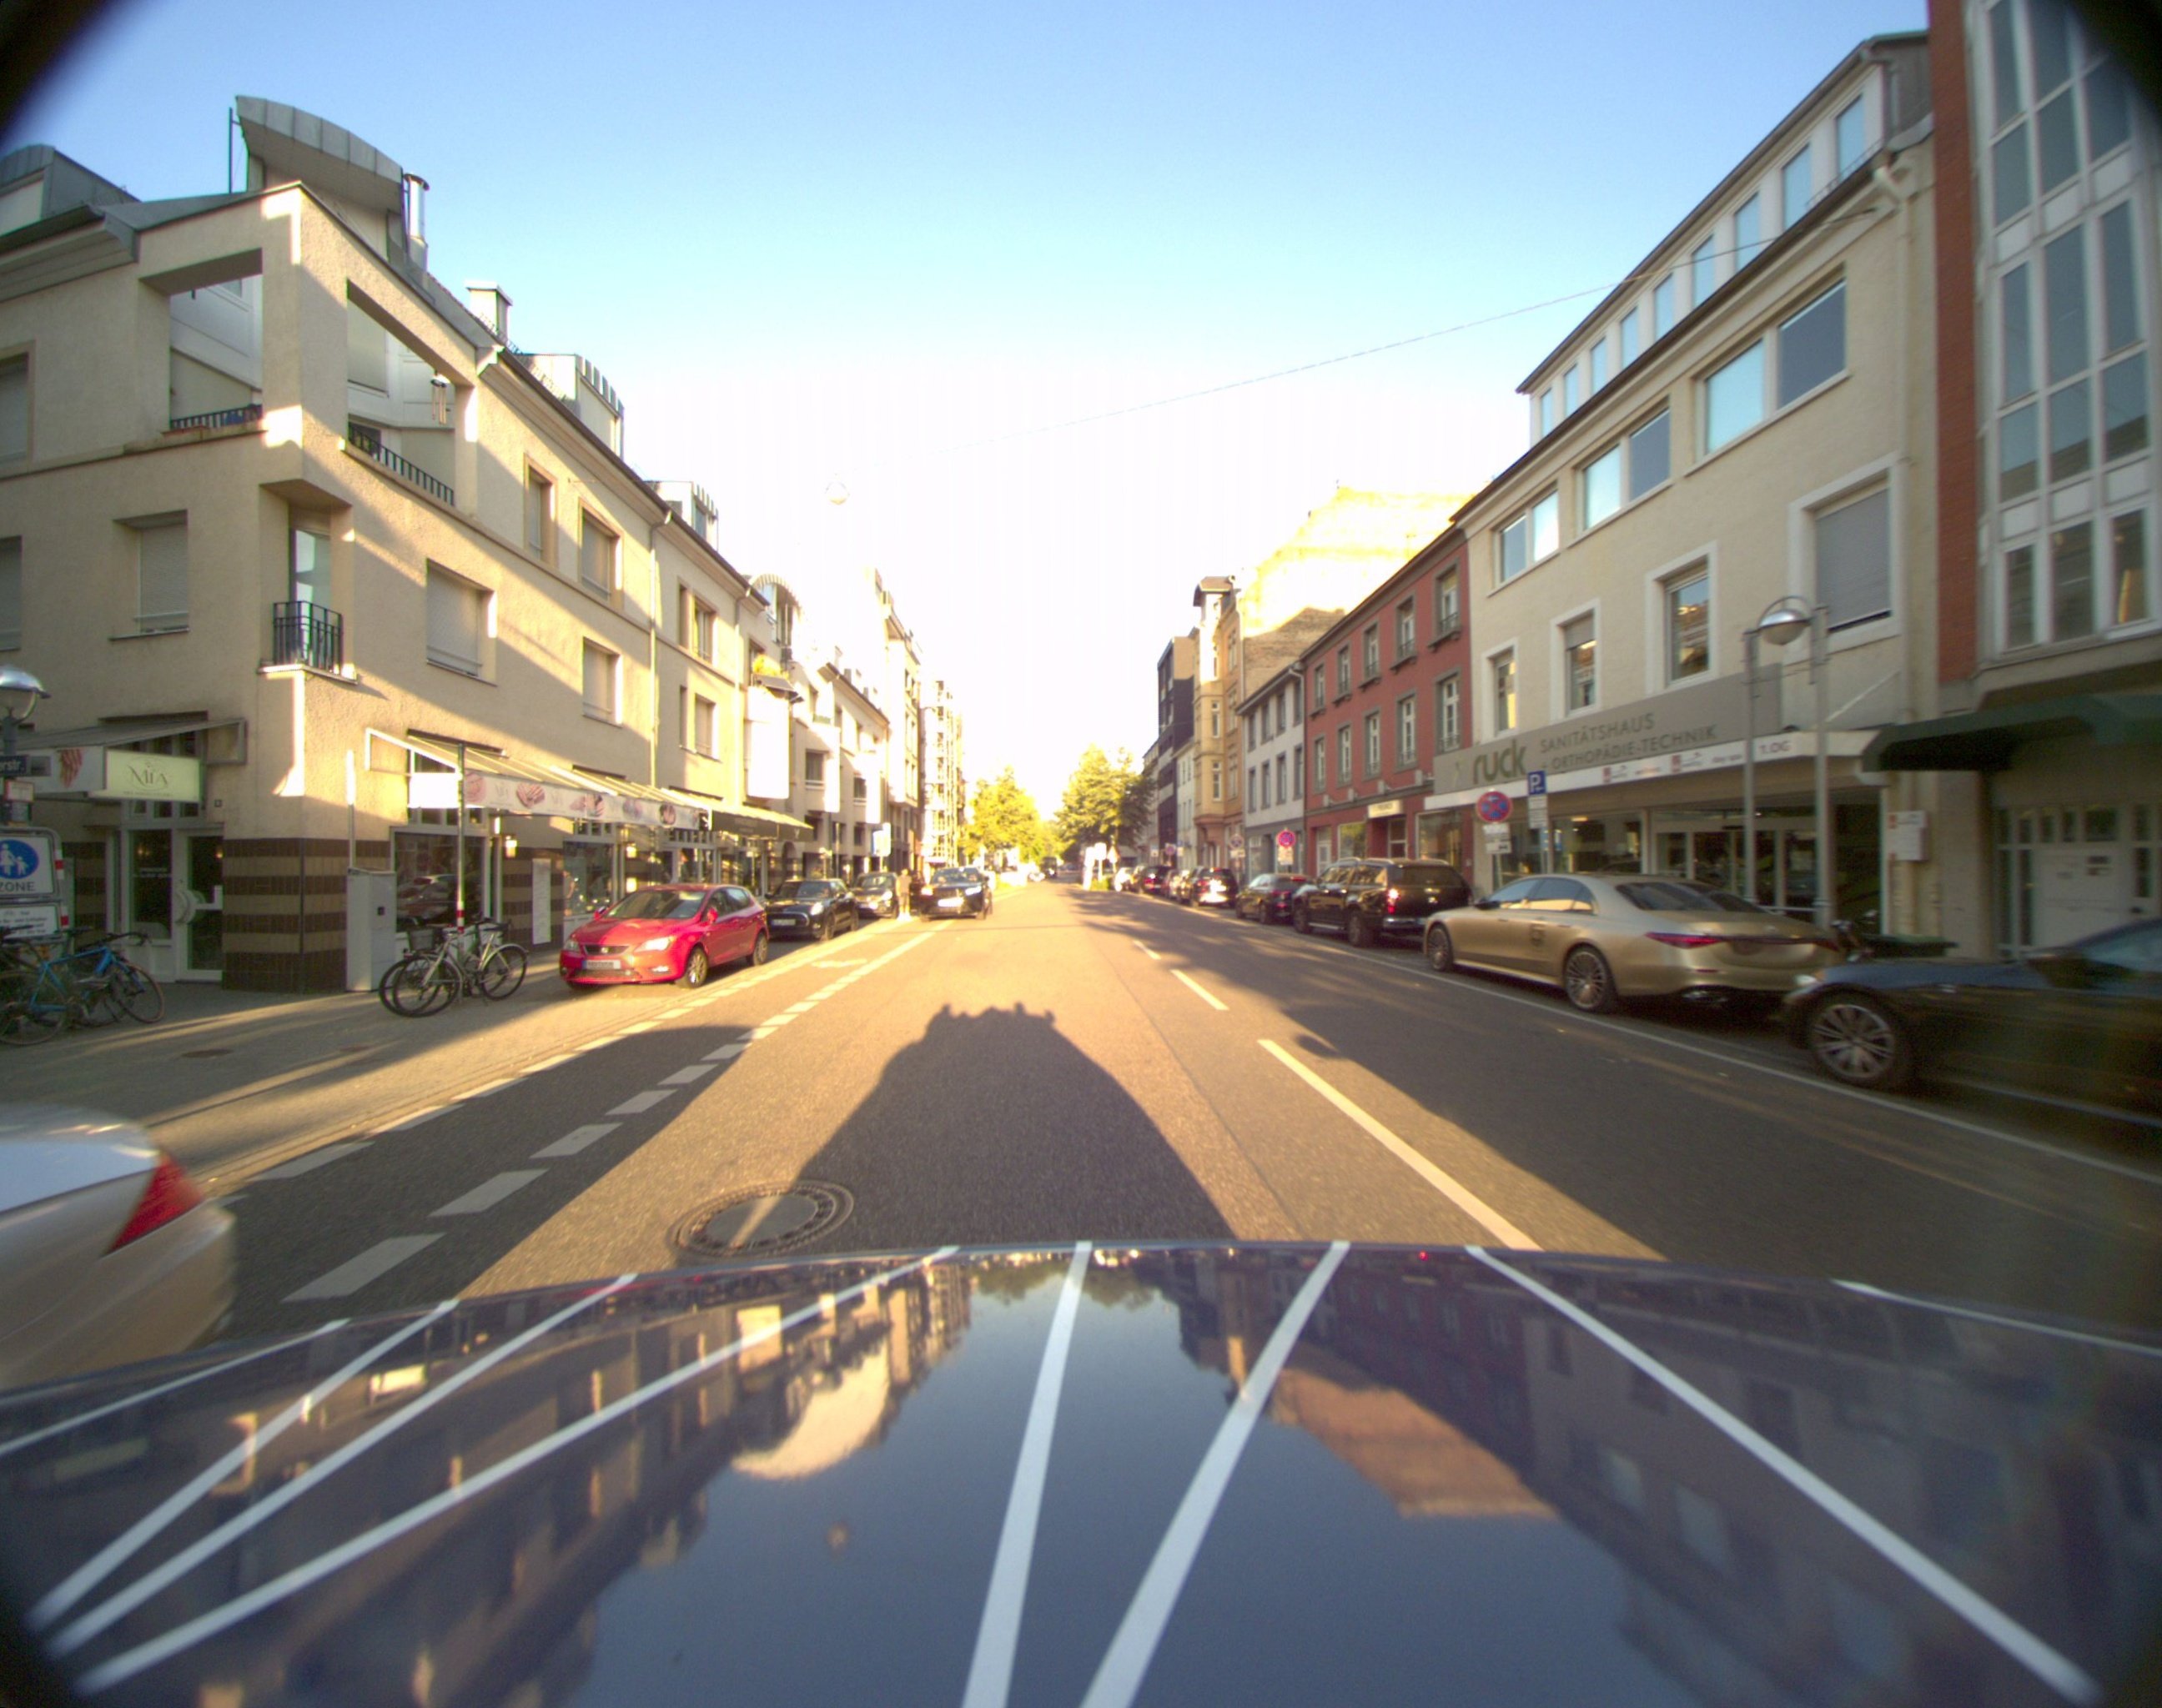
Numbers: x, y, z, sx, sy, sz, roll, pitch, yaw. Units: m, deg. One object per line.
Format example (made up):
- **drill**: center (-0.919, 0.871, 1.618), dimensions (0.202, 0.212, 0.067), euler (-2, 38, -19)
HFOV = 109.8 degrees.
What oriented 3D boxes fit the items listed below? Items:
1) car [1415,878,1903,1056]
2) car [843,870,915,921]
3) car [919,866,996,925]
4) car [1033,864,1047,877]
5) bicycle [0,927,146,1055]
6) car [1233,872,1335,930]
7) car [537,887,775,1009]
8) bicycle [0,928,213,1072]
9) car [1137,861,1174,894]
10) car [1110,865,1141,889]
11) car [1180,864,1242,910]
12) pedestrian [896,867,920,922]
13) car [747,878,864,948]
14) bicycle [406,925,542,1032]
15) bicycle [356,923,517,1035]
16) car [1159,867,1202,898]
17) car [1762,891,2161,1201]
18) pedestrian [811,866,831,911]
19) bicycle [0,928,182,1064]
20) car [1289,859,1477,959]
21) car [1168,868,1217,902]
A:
- **car**: center (6.233, 1.080, 9.267), dimensions (1.999, 1.463, 5.107), euler (1, -1, -1)
- **car**: center (-6.873, 1.368, 26.190), dimensions (1.621, 1.583, 3.924), euler (-1, 0, -3)
- **car**: center (-3.817, 1.229, 24.227), dimensions (1.891, 1.626, 4.226), euler (-2, 0, -3)
- **car**: center (-5.064, 2.060, 93.285), dimensions (1.622, 1.465, 3.688), euler (-2, 0, -3)
- **bicycle**: center (-10.348, 1.343, 7.348), dimensions (0.322, 1.098, 1.879), euler (-1, 0, -2)
- **car**: center (5.835, 1.311, 22.299), dimensions (1.706, 1.429, 4.013), euler (2, -1, -3)
- **car**: center (-6.176, 1.277, 11.597), dimensions (1.593, 1.425, 3.924), euler (0, -1, -3)
- **bicycle**: center (-9.624, 1.353, 7.353), dimensions (0.322, 1.098, 1.879), euler (-1, 0, -2)
- **car**: center (4.256, 1.339, 43.986), dimensions (1.673, 1.763, 3.565), euler (2, -1, -1)
- **car**: center (2.935, 1.530, 51.095), dimensions (1.674, 1.512, 3.564), euler (1, -1, -3)
- **car**: center (5.224, 1.284, 31.025), dimensions (1.725, 1.673, 4.049), euler (2, -1, -1)
- **pedestrian**: center (-5.596, 1.294, 24.621), dimensions (0.631, 1.739, 0.670), euler (0, 0, -3)
- **car**: center (-6.590, 1.347, 18.583), dimensions (1.621, 1.425, 3.924), euler (0, -1, -3)
- **bicycle**: center (-7.291, 1.454, 9.218), dimensions (0.315, 1.040, 1.664), euler (0, 0, 0)
- **bicycle**: center (-7.631, 1.430, 9.113), dimensions (0.315, 1.040, 1.882), euler (0, 0, 0)
- **car**: center (5.207, 1.469, 40.140), dimensions (1.673, 1.448, 3.565), euler (2, -1, -1)
- **car**: center (6.274, 1.024, 3.698), dimensions (1.725, 1.464, 4.541), euler (2, -1, -2)
- **pedestrian**: center (-10.661, 1.414, 31.161), dimensions (0.576, 1.789, 0.450), euler (-2, 0, -2)
- **bicycle**: center (-9.932, 1.355, 7.343), dimensions (0.291, 1.098, 1.887), euler (-1, 0, -2)
- **car**: center (6.116, 1.028, 16.138), dimensions (1.725, 1.768, 4.937), euler (1, -1, -4)
- **car**: center (5.207, 1.427, 35.997), dimensions (1.689, 1.461, 3.691), euler (2, -1, -1)
